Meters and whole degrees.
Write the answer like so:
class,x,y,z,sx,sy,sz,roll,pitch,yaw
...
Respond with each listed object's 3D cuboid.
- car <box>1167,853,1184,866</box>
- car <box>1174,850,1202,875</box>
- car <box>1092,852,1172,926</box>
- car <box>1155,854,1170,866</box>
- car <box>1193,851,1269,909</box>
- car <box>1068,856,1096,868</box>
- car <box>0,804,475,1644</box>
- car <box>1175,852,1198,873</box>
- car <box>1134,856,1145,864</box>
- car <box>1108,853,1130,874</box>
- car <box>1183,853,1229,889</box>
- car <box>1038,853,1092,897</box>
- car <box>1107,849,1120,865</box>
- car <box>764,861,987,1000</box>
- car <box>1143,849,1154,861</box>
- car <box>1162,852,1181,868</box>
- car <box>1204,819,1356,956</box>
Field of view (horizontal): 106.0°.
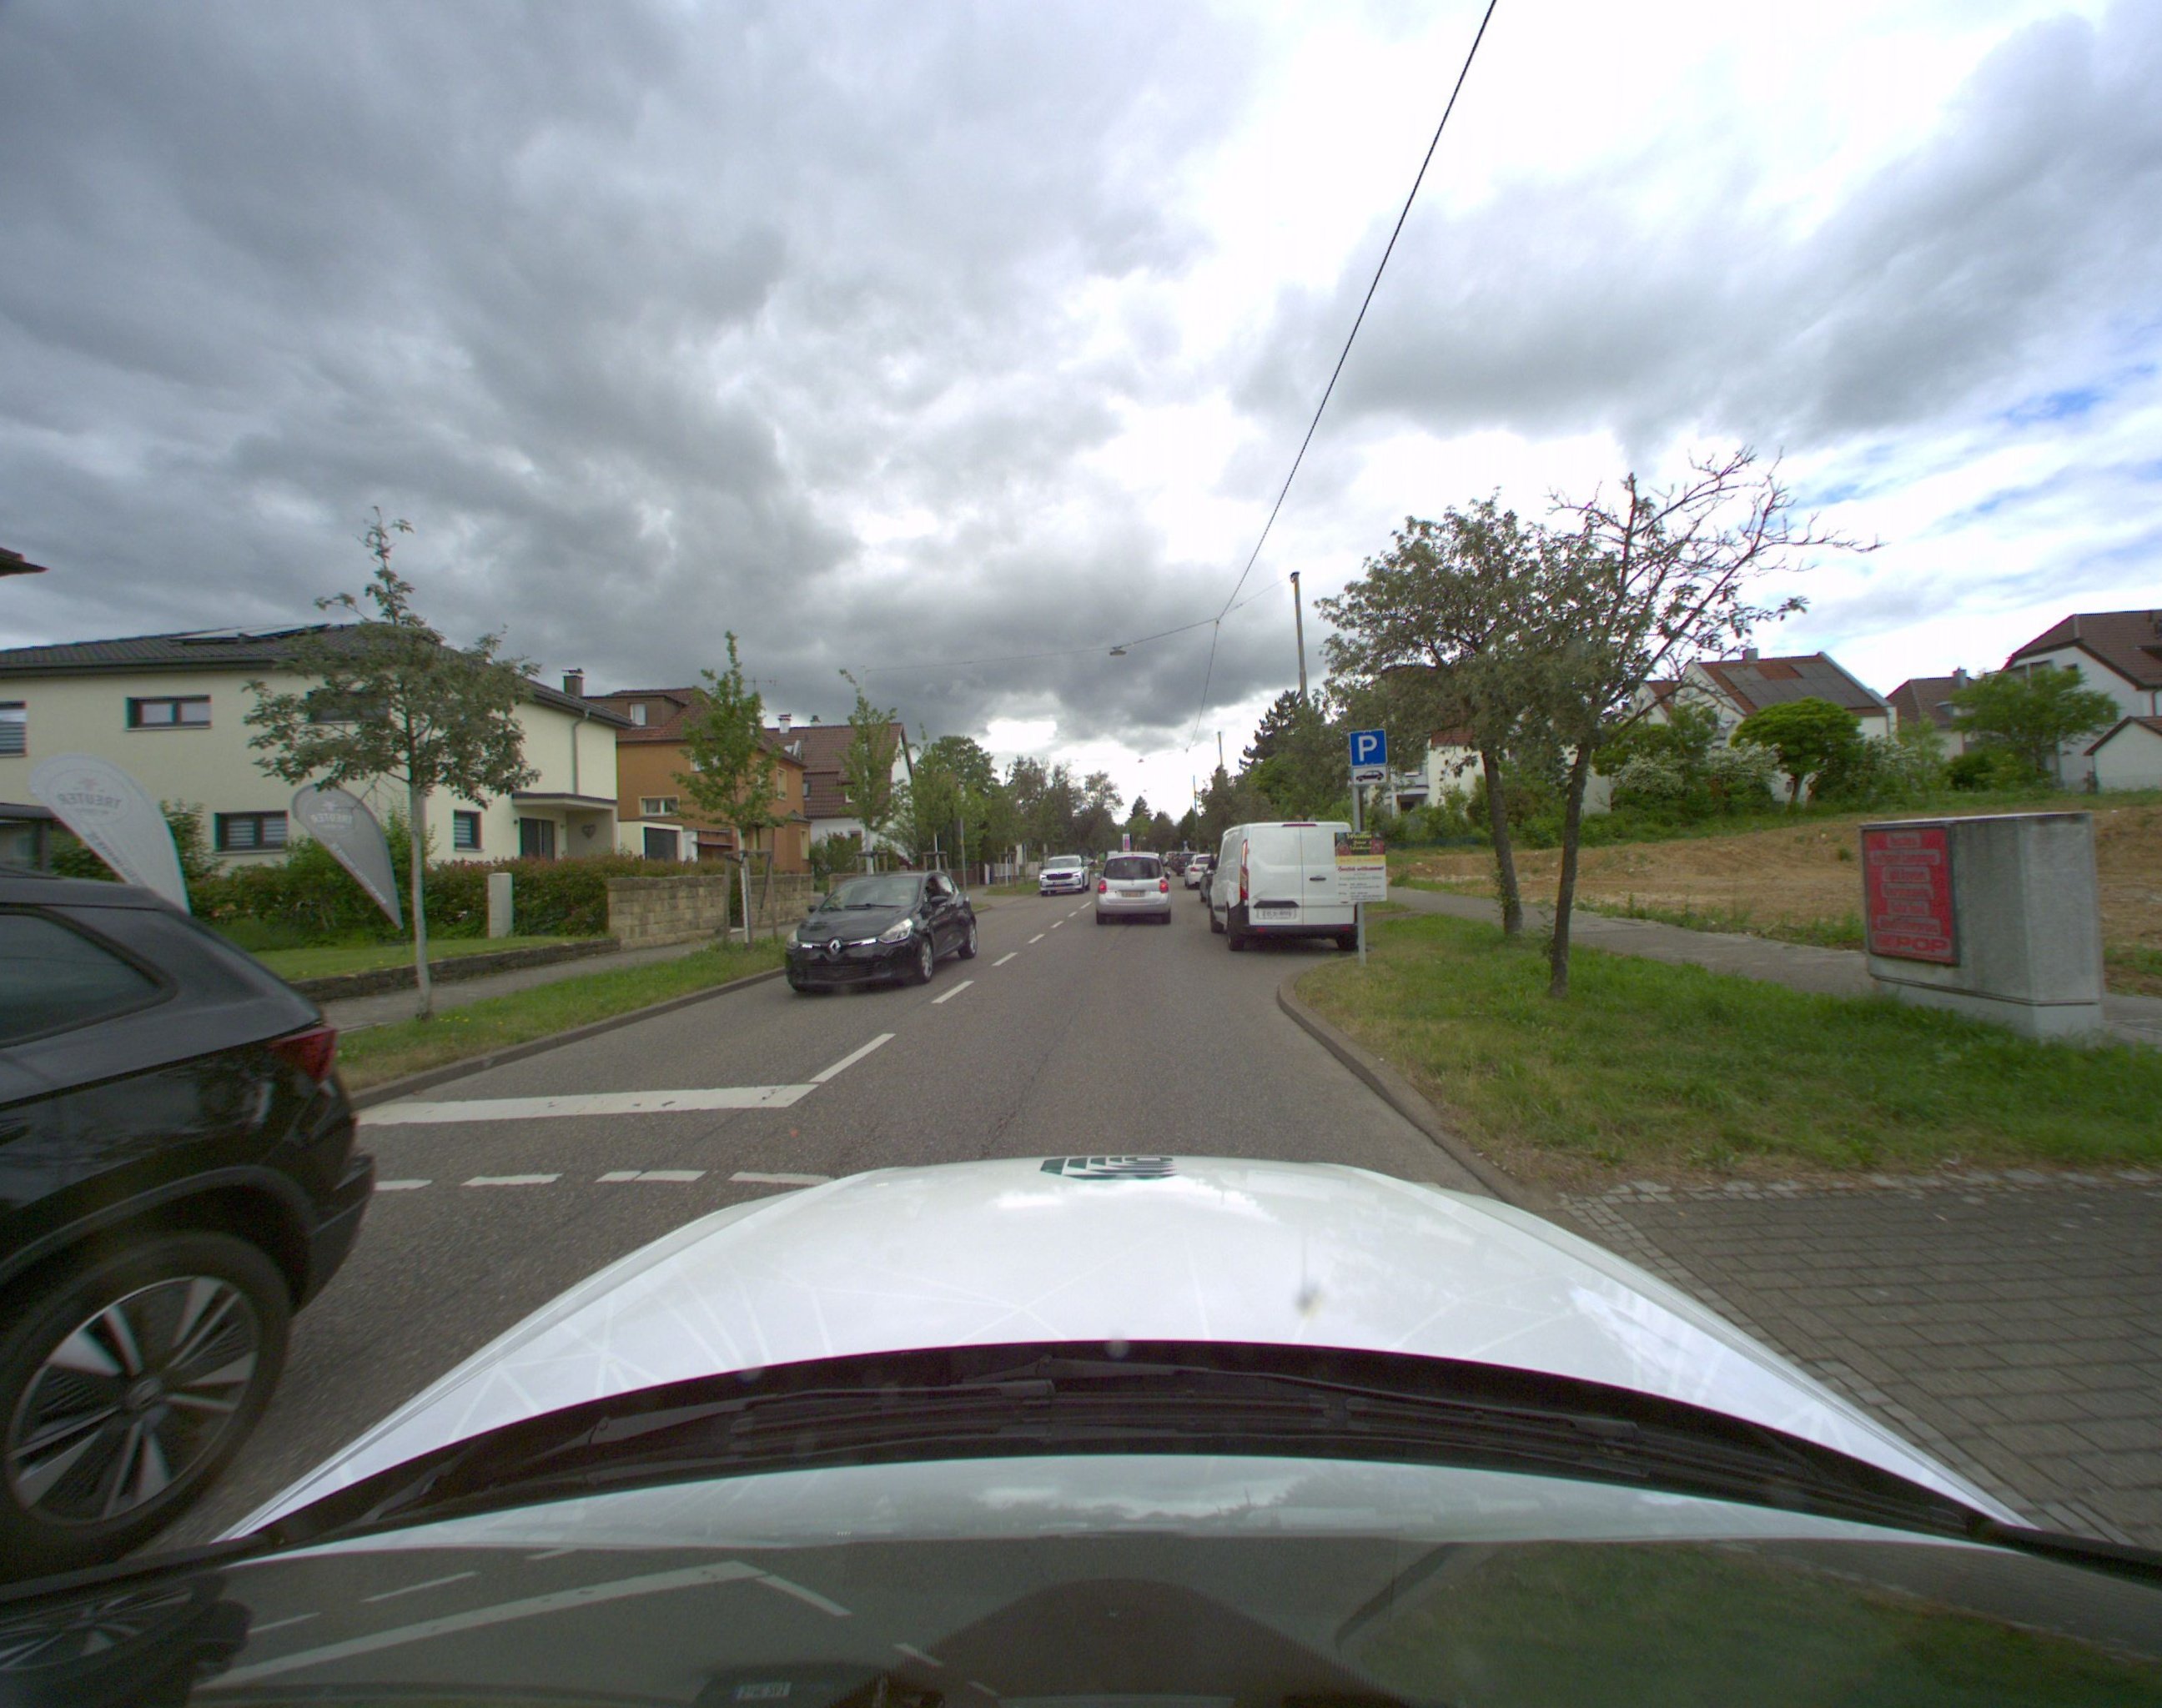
class,x,y,z,sx,sy,sz,roll,pitch,yaw
car,10.613,0.584,91.688,1.552,1.443,3.507,-1,0,1
car,7.212,0.588,55.302,1.680,1.609,4.115,-1,0,5
car,1.234,0.748,19.047,1.671,1.560,3.516,-1,0,5
car,11.215,0.856,112.363,1.622,1.452,3.874,-5,0,0
car,4.278,0.689,23.739,1.658,1.516,4.225,-1,0,4
car,0.160,1.299,129.076,4.065,1.706,1.751,-3,-1,6
car,-3.135,0.766,0.750,1.887,1.624,4.005,-3,0,4
car,9.463,0.753,73.396,1.821,1.712,4.556,-4,0,5
car,11.438,1.254,159.126,1.691,1.506,3.968,-2,0,-3
car,3.539,0.835,75.405,1.786,1.752,4.305,-3,0,5
car,5.342,0.691,35.180,1.685,1.453,4.411,-1,0,5
car,-0.629,0.862,35.602,1.805,1.692,4.471,-4,0,4
car,5.972,0.535,148.961,2.064,2.582,5.306,-5,-1,4
car,-2.614,0.906,11.381,1.608,1.472,4.007,-4,-1,6
car,16.836,0.294,204.261,2.274,2.911,5.277,-1,-1,-1
car,10.787,0.717,97.087,1.792,1.778,4.706,-1,0,1
car,3.231,0.493,14.161,1.767,1.943,4.794,-1,0,4
